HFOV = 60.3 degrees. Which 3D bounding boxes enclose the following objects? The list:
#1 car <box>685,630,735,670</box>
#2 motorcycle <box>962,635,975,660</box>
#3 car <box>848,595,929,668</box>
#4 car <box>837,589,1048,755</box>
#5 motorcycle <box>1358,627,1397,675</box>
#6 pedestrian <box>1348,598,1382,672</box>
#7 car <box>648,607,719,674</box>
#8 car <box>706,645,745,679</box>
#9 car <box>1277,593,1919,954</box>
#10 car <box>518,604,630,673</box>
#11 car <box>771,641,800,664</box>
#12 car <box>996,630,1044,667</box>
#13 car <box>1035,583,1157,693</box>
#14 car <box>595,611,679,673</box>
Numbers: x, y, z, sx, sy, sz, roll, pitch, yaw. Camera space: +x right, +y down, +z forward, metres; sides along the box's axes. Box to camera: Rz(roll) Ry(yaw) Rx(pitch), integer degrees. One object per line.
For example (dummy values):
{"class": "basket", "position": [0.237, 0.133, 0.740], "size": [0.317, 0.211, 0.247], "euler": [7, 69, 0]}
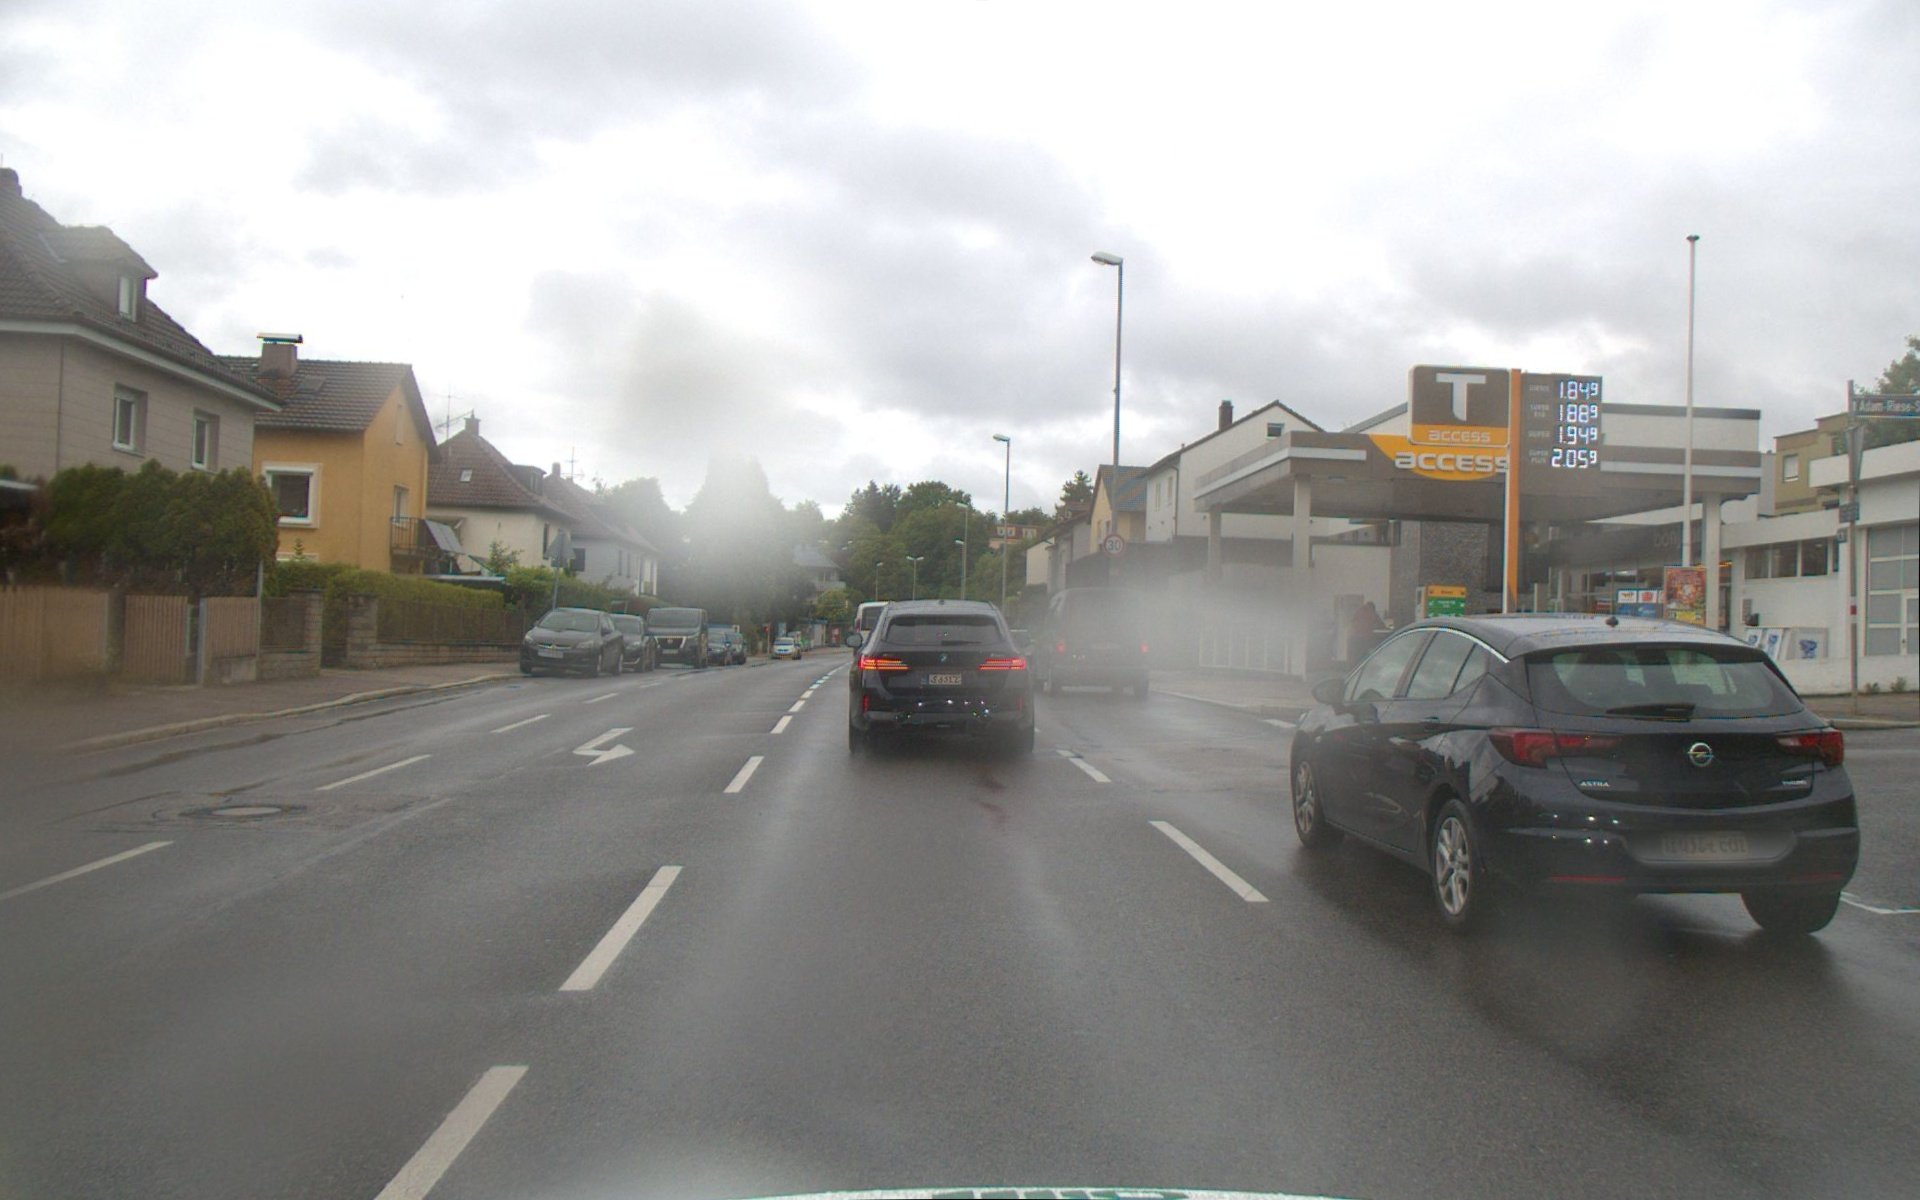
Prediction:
{"class": "car", "position": [-10.523, 2.125, 69.915], "size": [1.722, 1.560, 4.282], "euler": [1, -2, -4]}
{"class": "motorcycle", "position": [0.550, 3.089, 107.404], "size": [0.689, 1.536, 2.149], "euler": [-1, -2, -2]}
{"class": "car", "position": [-1.840, 0.854, 42.764], "size": [1.953, 1.768, 3.997], "euler": [1, -2, -2]}
{"class": "car", "position": [-0.230, 0.749, 17.547], "size": [1.953, 1.510, 3.998], "euler": [1, -2, -2]}
{"class": "motorcycle", "position": [9.481, 1.162, 37.587], "size": [0.453, 1.074, 1.389], "euler": [1, -2, -3]}
{"class": "pedestrian", "position": [9.262, 0.804, 37.789], "size": [0.597, 1.685, 0.585], "euler": [1, -2, -3]}
{"class": "car", "position": [-9.065, 1.363, 54.561], "size": [1.875, 2.038, 5.081], "euler": [1, -2, -5]}
{"class": "car", "position": [-10.746, 2.851, 76.073], "size": [1.521, 1.456, 4.010], "euler": [1, -2, -5]}
{"class": "car", "position": [3.080, 0.746, 8.892], "size": [1.722, 1.475, 3.997], "euler": [1, -1, -4]}
{"class": "car", "position": [-8.810, 0.922, 38.061], "size": [1.715, 1.465, 4.127], "euler": [1, -2, -2]}
{"class": "car", "position": [-12.957, 3.887, 122.653], "size": [1.846, 1.613, 3.997], "euler": [1, -2, -2]}
{"class": "car", "position": [2.582, 2.116, 71.963], "size": [1.666, 1.537, 4.531], "euler": [1, -2, -3]}
{"class": "car", "position": [2.358, 0.705, 29.608], "size": [1.801, 1.798, 3.999], "euler": [1, -2, 0]}
{"class": "car", "position": [-8.659, 1.156, 44.617], "size": [1.716, 1.543, 4.522], "euler": [1, -2, -5]}
